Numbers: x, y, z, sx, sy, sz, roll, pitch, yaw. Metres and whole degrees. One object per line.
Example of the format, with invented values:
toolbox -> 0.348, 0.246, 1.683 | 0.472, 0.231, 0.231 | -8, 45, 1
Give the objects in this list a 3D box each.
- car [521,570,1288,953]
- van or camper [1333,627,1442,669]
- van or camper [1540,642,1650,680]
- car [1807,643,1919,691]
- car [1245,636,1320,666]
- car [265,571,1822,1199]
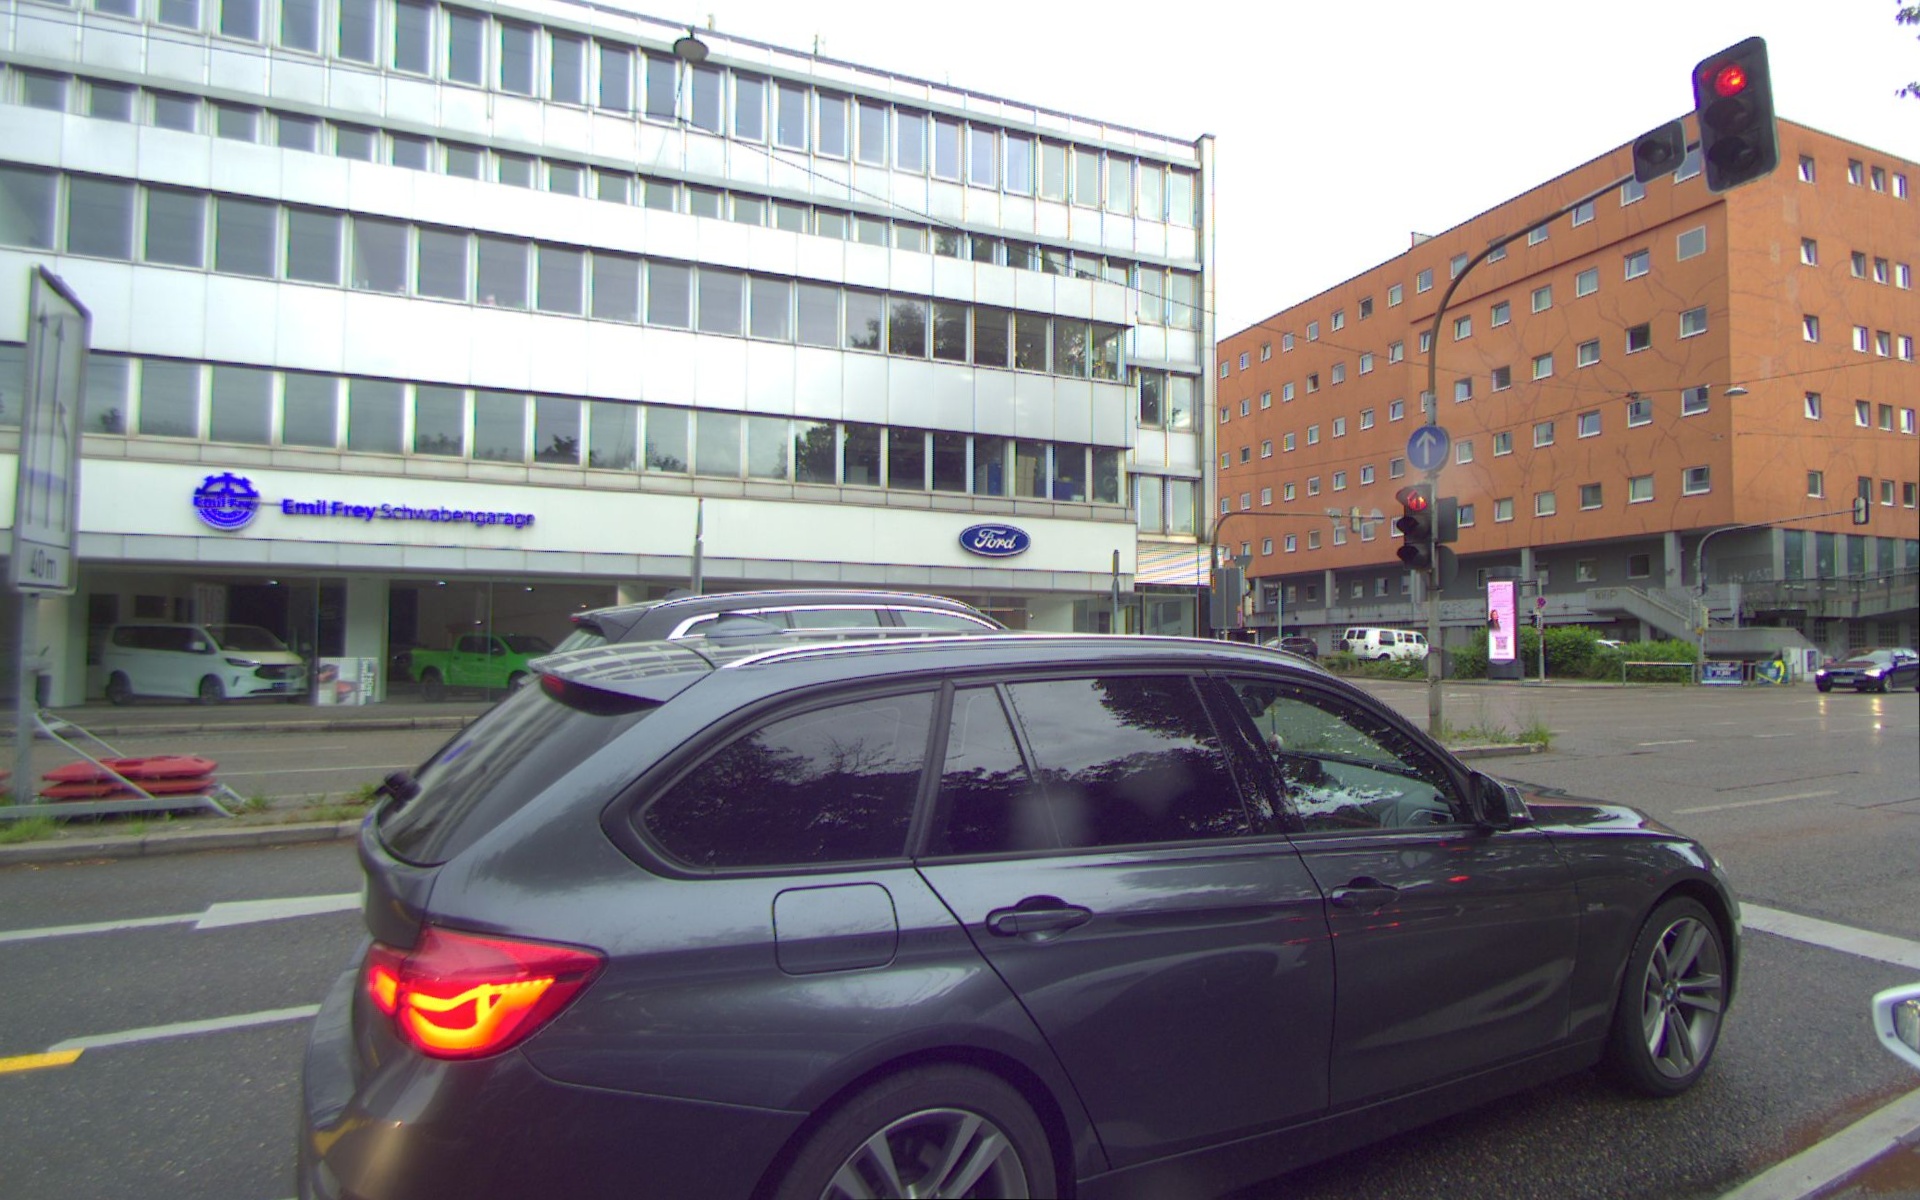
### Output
car -> -0.255, 0.762, 6.234 | 4.389, 1.678, 1.802 | 2, 0, -28
van or camper -> 22.295, 2.511, 52.356 | 5.376, 2.004, 2.121 | 2, 0, -23
van or camper -> 29.482, 2.796, 46.778 | 1.887, 1.648, 3.978 | 1, -2, -23
car -> 29.134, 2.140, 32.120 | 4.161, 1.437, 1.680 | 2, -3, -28
car -> 18.971, 2.987, 59.018 | 4.027, 1.633, 1.706 | 2, 0, -23
car -> 0.615, 0.792, 3.150 | 4.424, 1.477, 1.769 | 2, -3, -30
